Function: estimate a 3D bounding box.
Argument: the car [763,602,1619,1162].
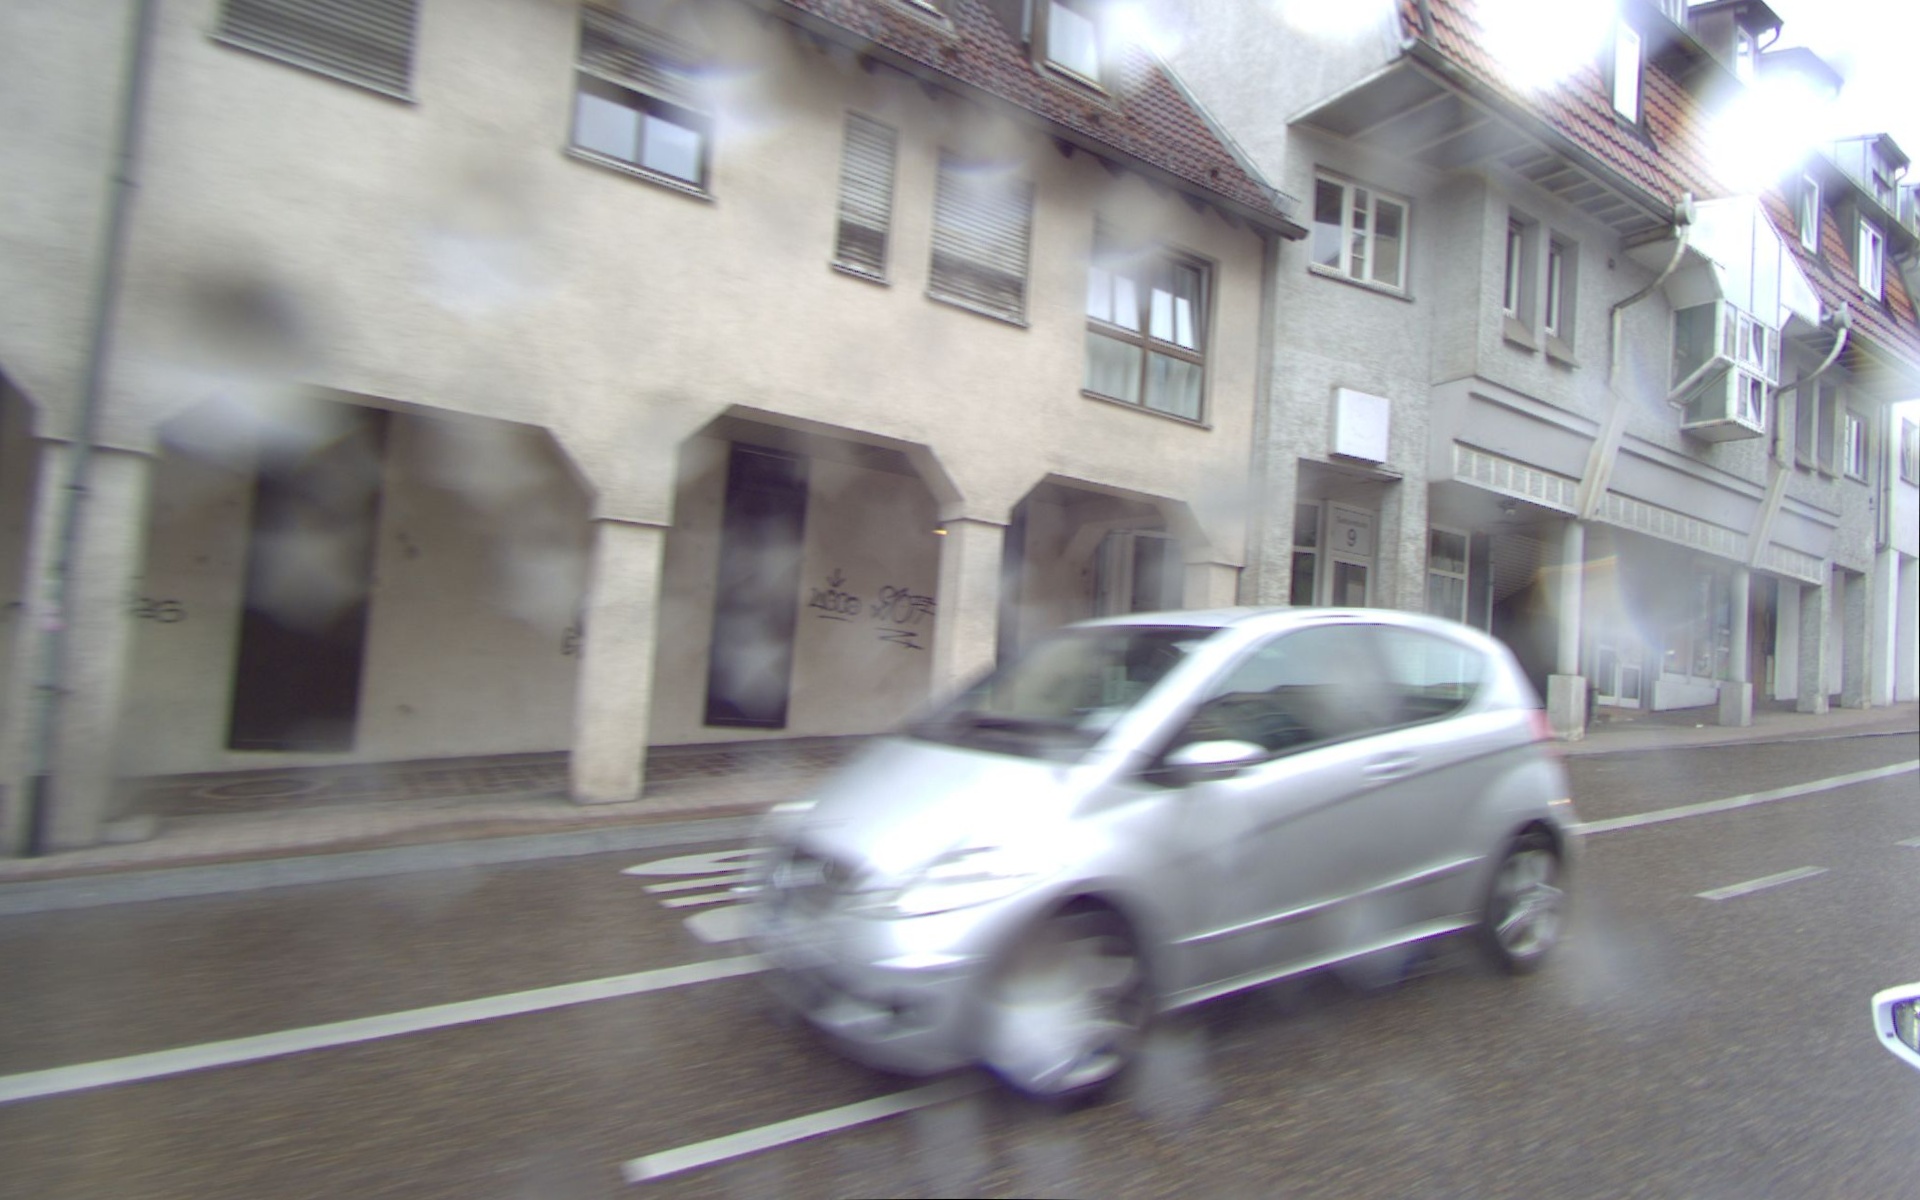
[{"bbox_3d":[1.119,0.831,4.423,3.549,1.530,1.668,2,-2,-32],"label":"car"}]
